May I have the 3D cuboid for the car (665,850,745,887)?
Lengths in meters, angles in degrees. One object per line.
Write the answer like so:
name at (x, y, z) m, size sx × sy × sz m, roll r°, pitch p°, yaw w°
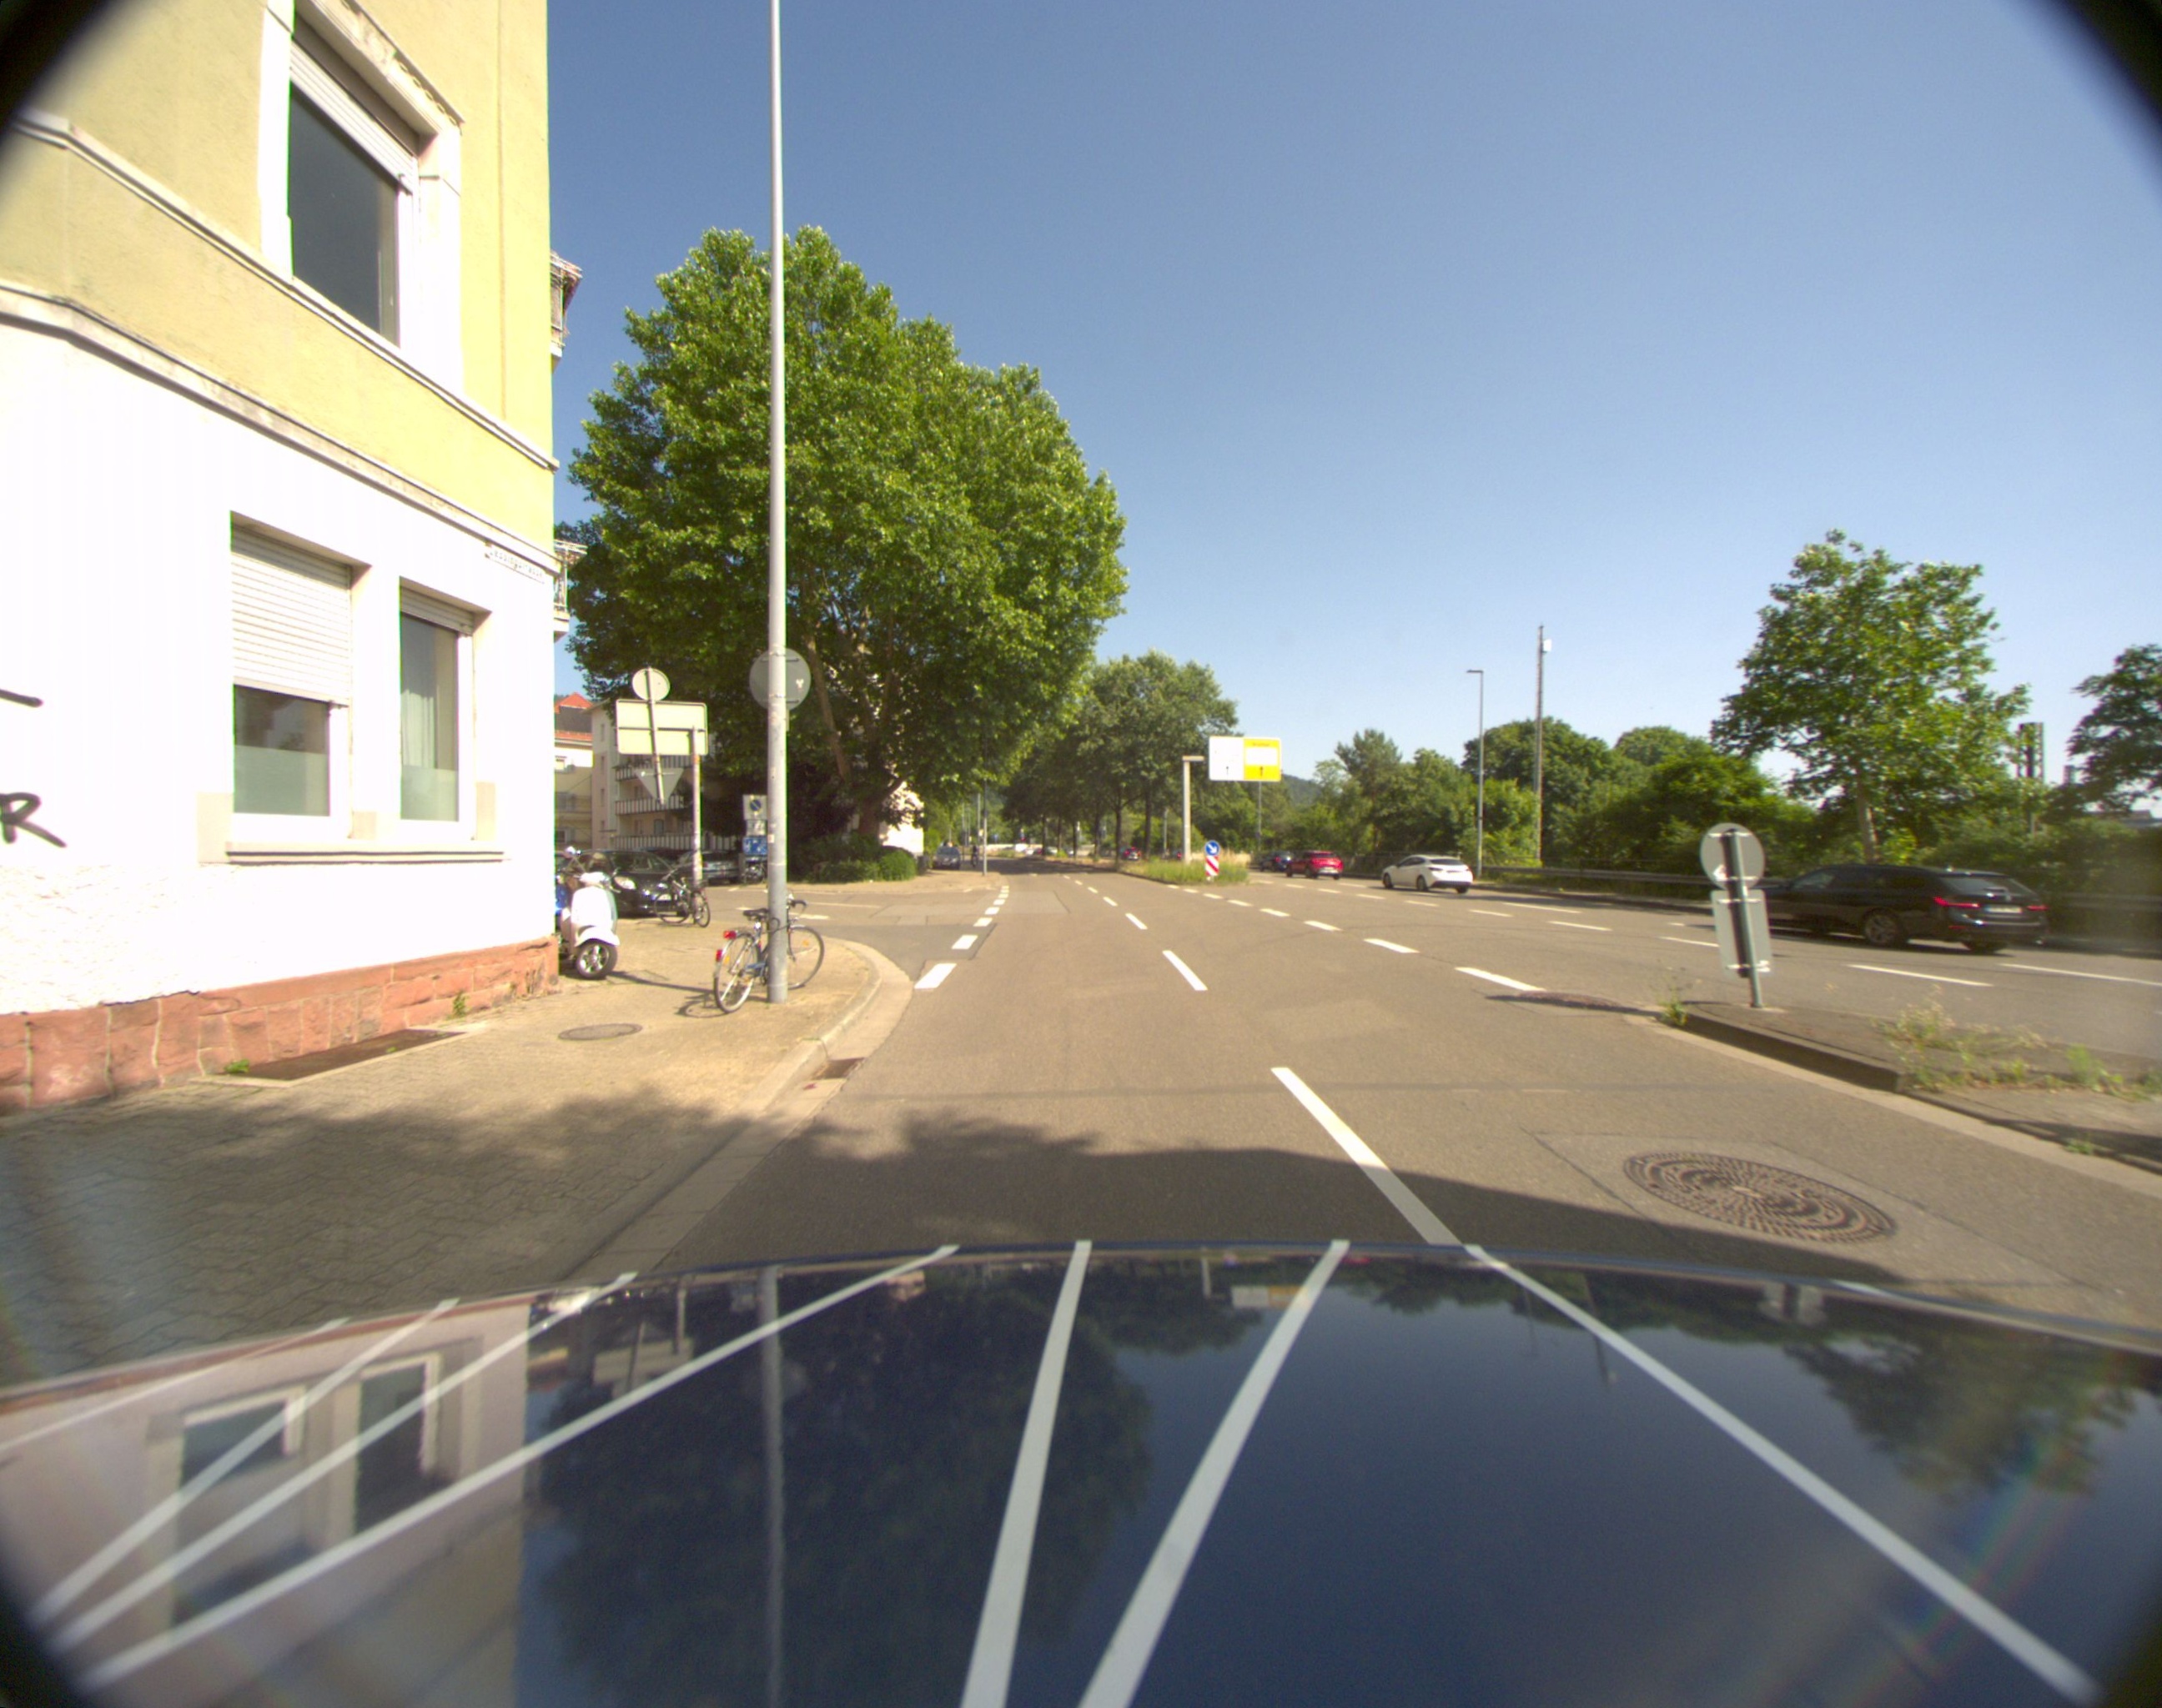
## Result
car at (-15.587, 0.548, 31.454) m, size 3.783 × 1.443 × 1.814 m, roll 1°, pitch 1°, yaw 45°

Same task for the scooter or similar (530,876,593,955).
scooter or similar at (-8.013, 0.924, 11.696) m, size 1.443 × 1.121 × 0.275 m, roll 1°, pitch 0°, yaw 34°

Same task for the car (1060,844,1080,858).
car at (-1.564, -0.478, 106.809) m, size 2.001 × 1.880 × 3.995 m, roll 0°, pitch 1°, yaw -12°

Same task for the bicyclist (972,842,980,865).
bicyclist at (-7.406, -0.041, 53.624) m, size 0.541 × 1.624 × 0.589 m, roll 1°, pitch 1°, yaw -7°

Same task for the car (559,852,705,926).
car at (-10.259, 0.702, 17.258) m, size 3.757 × 1.438 × 1.831 m, roll 1°, pitch 1°, yaw 43°

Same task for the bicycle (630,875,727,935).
bicycle at (-7.698, 0.949, 14.523) m, size 1.878 × 1.028 × 0.627 m, roll 0°, pitch 1°, yaw 26°

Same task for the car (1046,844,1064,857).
car at (-3.977, -0.548, 115.539) m, size 2.001 × 1.880 × 3.994 m, roll 0°, pitch 1°, yaw -15°

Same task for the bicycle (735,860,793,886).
bicycle at (-12.663, 0.742, 30.365) m, size 0.970 × 0.978 × 1.902 m, roll 1°, pitch 1°, yaw 39°

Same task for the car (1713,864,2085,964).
car at (14.648, 0.960, 14.136) m, size 1.998 × 1.403 × 4.615 m, roll 1°, pitch 1°, yaw 2°

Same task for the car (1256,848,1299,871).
car at (13.600, 0.357, 52.764) m, size 1.646 × 1.492 × 3.647 m, roll 2°, pitch 1°, yaw -6°

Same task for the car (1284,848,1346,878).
car at (12.629, 0.470, 41.249) m, size 1.802 × 1.511 × 3.961 m, roll 1°, pitch 1°, yaw -6°

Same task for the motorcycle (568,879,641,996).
motorcycle at (-5.558, 0.910, 8.817) m, size 0.475 × 1.143 × 1.759 m, roll 1°, pitch 1°, yaw -40°

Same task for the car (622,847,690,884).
car at (-19.769, 0.490, 35.274) m, size 3.768 × 1.648 × 1.757 m, roll 1°, pitch 1°, yaw 45°

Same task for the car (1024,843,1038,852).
car at (-8.414, -1.088, 128.616) m, size 1.635 × 1.487 × 3.675 m, roll 0°, pitch 1°, yaw -15°

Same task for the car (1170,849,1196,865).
car at (10.012, 0.271, 74.793) m, size 1.681 × 1.461 × 3.574 m, roll 1°, pitch 1°, yaw -6°

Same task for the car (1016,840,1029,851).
car at (-10.371, -1.542, 135.315) m, size 1.636 × 1.904 × 3.675 m, roll 2°, pitch 1°, yaw -15°

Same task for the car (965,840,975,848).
car at (-24.810, -2.250, 169.688) m, size 1.636 × 1.801 × 3.586 m, roll 0°, pitch 1°, yaw -16°

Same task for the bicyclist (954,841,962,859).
bicyclist at (-13.023, -0.408, 80.493) m, size 0.648 × 1.883 × 0.838 m, roll 0°, pitch 1°, yaw -16°

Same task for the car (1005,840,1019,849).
car at (-14.042, -1.913, 154.495) m, size 2.002 × 1.856 × 3.993 m, roll 2°, pitch 1°, yaw -17°

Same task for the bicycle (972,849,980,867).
bicycle at (-7.411, 0.272, 53.635) m, size 0.554 × 1.182 × 1.285 m, roll 1°, pitch 1°, yaw -6°

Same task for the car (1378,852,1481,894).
car at (13.687, 0.701, 30.109) m, size 1.869 × 1.444 × 4.202 m, roll 1°, pitch 1°, yaw -4°

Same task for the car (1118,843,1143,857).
car at (6.222, -0.499, 95.236) m, size 1.924 × 1.654 × 4.306 m, roll 0°, pitch 1°, yaw -14°

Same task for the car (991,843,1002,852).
car at (-15.972, -1.233, 143.483) m, size 1.636 × 1.801 × 3.586 m, roll 0°, pitch 1°, yaw -16°

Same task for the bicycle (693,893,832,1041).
bicycle at (-2.862, 0.960, 7.013) m, size 0.578 × 1.081 × 1.734 m, roll 0°, pitch 1°, yaw -1°

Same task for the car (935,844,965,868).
car at (-8.443, 0.092, 48.904) m, size 1.794 × 1.504 × 3.889 m, roll 0°, pitch 1°, yaw -11°
